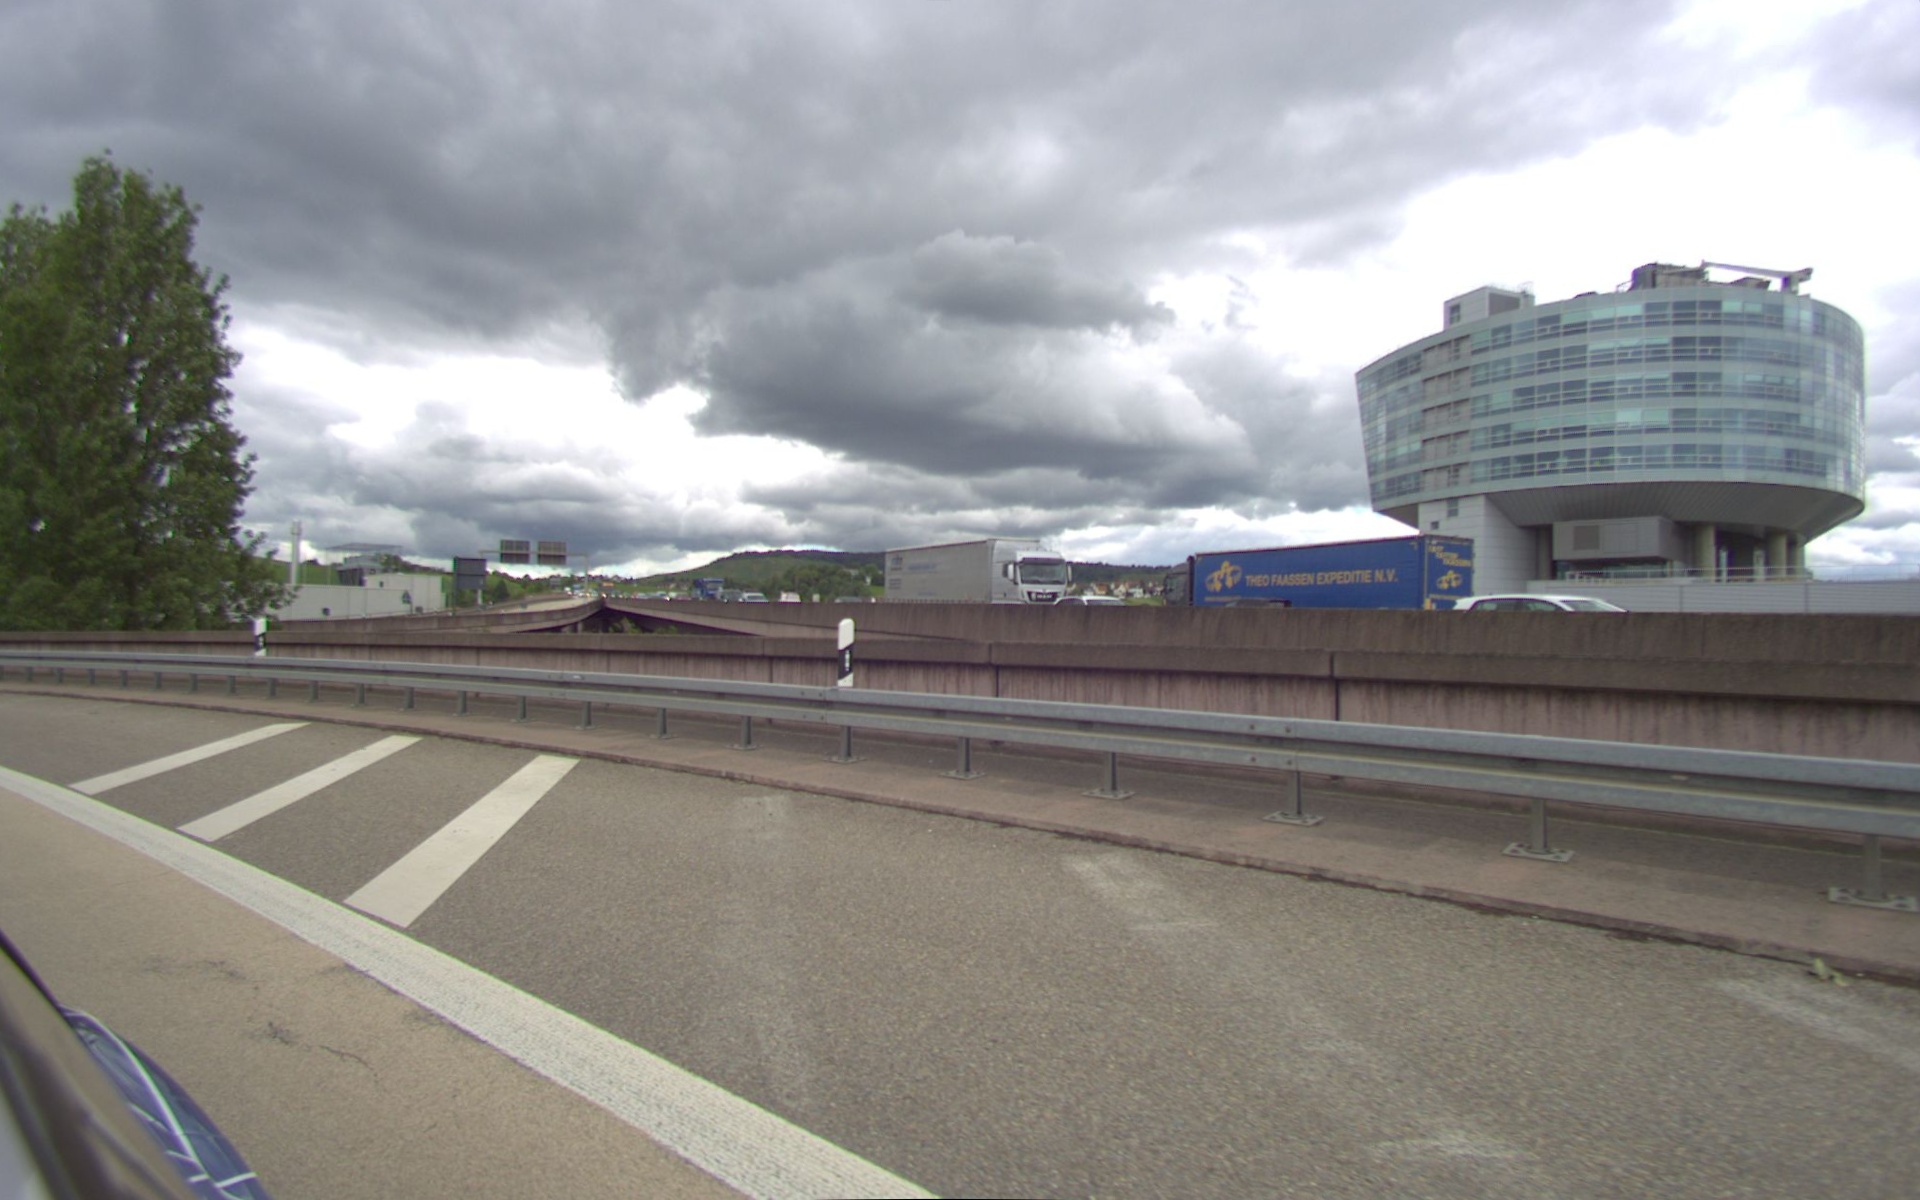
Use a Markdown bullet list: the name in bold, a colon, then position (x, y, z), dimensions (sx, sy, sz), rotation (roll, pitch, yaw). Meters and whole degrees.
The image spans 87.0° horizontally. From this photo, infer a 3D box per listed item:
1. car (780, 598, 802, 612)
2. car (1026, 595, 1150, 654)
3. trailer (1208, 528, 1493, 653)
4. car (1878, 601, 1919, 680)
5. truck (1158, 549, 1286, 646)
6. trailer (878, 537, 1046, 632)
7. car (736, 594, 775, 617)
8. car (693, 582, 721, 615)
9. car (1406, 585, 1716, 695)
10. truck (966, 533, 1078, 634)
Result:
- **car**: position (-20.151, 0.572, 120.618), dimensions (1.659, 1.529, 3.662), rotation (-3, 0, -22)
- **car**: position (3.612, 0.678, 29.273), dimensions (1.758, 1.530, 4.013), rotation (-2, 0, -22)
- **trailer**: position (15.518, -0.177, 42.042), dimensions (3.116, 4.380, 12.558), rotation (2, -2, -23)
- **car**: position (20.696, 0.822, 19.799), dimensions (1.621, 1.603, 3.698), rotation (2, -2, -23)
- **truck**: position (12.555, -0.039, 48.984), dimensions (3.116, 4.380, 5.713), rotation (2, -2, -22)
- **trailer**: position (-0.366, -0.689, 50.149), dimensions (2.816, 4.041, 14.020), rotation (-1, 0, -24)
- **car**: position (-15.438, 0.441, 76.307), dimensions (1.965, 1.695, 4.013), rotation (-1, 0, -24)
- **car**: position (-29.429, -0.173, 117.600), dimensions (2.325, 3.688, 4.814), rotation (-3, 0, -22)
- **car**: position (9.414, 0.584, 16.231), dimensions (1.685, 1.508, 4.013), rotation (-1, -1, -23)
- **truck**: position (2.562, -0.689, 43.424), dimensions (2.816, 4.041, 4.807), rotation (-1, 0, -24)
